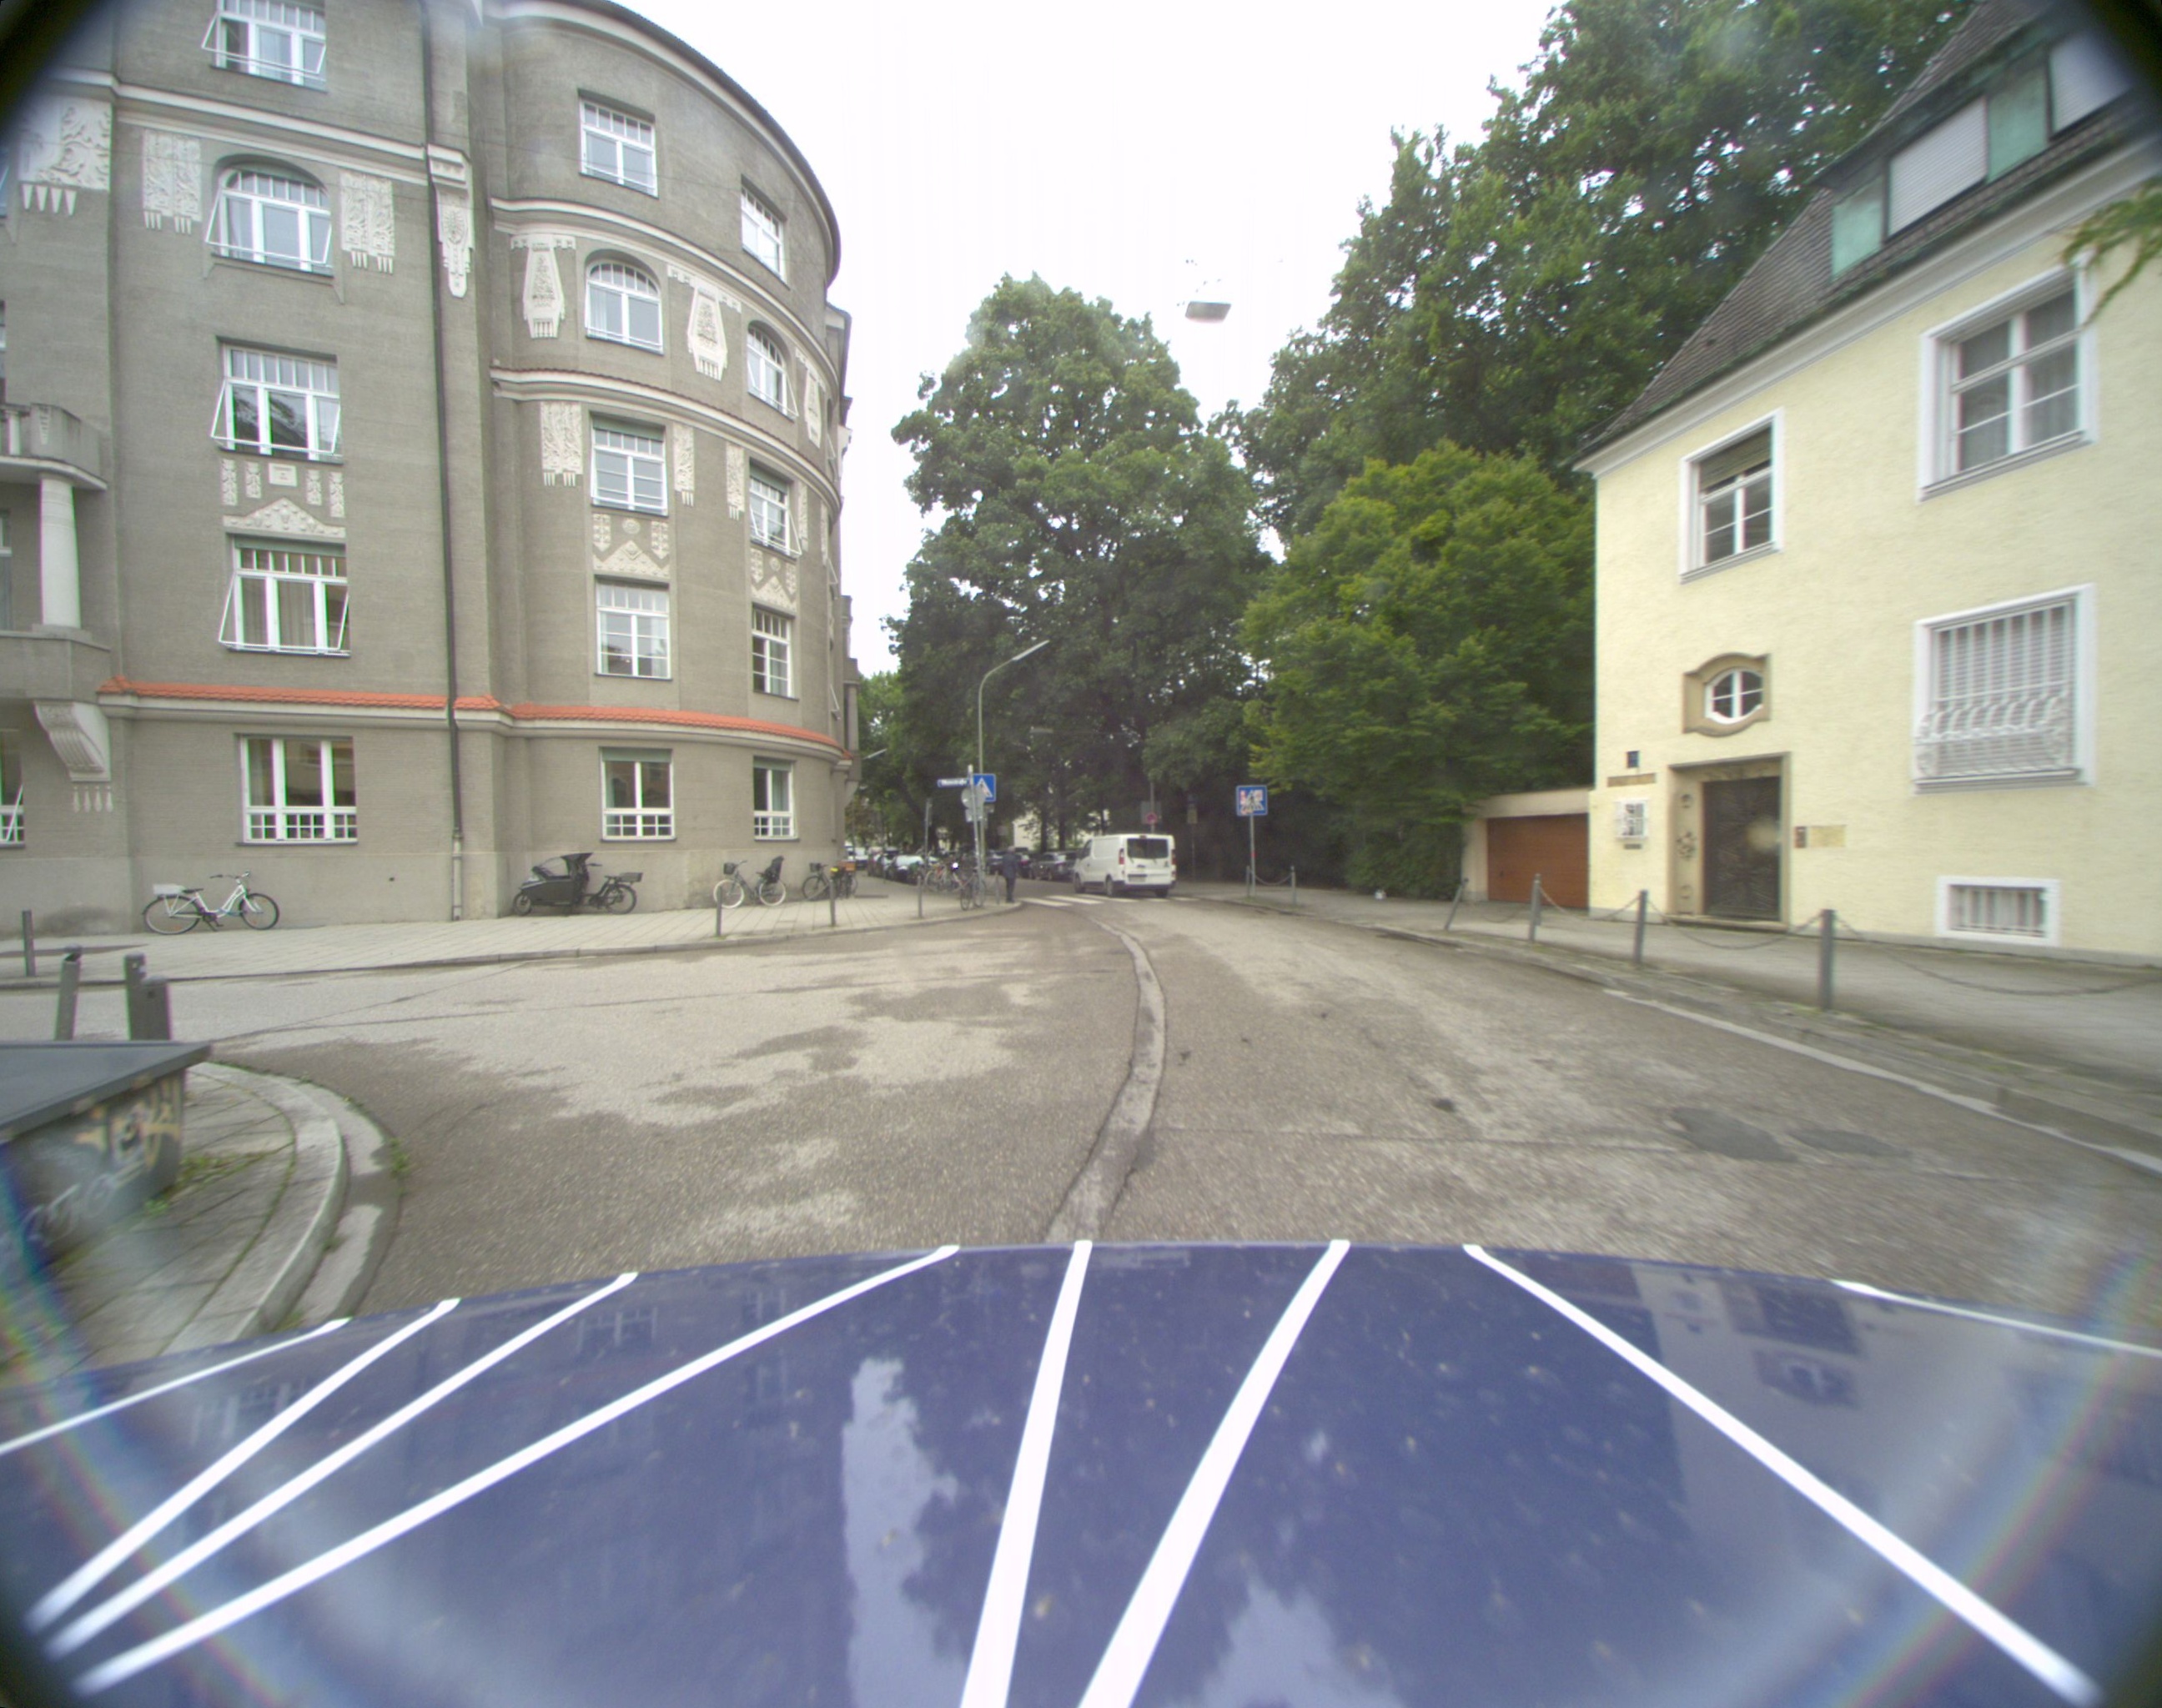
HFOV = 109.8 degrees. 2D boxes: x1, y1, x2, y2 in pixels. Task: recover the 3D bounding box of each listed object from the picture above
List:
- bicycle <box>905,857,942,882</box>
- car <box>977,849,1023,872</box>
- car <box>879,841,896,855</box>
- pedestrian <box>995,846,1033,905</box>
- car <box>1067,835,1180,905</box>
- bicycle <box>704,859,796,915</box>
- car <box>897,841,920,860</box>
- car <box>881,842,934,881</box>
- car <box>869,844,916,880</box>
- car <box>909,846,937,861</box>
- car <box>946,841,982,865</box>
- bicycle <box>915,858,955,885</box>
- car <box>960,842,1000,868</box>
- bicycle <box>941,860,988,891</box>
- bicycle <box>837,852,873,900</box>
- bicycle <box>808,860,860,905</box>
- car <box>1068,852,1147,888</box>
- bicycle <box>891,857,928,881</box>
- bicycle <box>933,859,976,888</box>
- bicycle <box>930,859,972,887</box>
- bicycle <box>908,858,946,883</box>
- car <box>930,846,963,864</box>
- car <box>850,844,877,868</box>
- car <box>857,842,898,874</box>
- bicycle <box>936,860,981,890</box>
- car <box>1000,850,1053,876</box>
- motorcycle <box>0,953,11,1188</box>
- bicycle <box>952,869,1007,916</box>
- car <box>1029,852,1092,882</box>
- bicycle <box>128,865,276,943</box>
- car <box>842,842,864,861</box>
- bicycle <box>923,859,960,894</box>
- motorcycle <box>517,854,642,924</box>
[{"bbox_3d":[-7.552,0.727,36.458,1.683,1.141,0.511,-1,2,-4],"label":"bicycle"},{"bbox_3d":[-5.409,0.392,50.023,1.779,1.424,4.507,-1,1,-23],"label":"car"},{"bbox_3d":[-26.868,-0.878,105.428,2.002,1.941,4.652,-1,2,-19],"label":"car"},{"bbox_3d":[-1.897,0.597,21.583,0.811,1.632,0.727,0,2,23],"label":"pedestrian"},{"bbox_3d":[1.224,0.451,24.834,2.048,2.030,4.949,-1,1,-18],"label":"car"},{"bbox_3d":[-8.135,0.769,18.760,0.736,1.249,1.930,1,2,41],"label":"bicycle"},{"bbox_3d":[-19.153,-0.428,84.145,2.002,1.941,4.652,-1,2,-19],"label":"car"},{"bbox_3d":[-9.305,0.325,40.541,2.002,1.941,4.651,-1,2,-22],"label":"car"},{"bbox_3d":[-11.251,0.433,45.074,2.002,1.941,4.651,-1,2,-22],"label":"car"},{"bbox_3d":[-15.325,-0.090,73.417,1.779,1.424,4.507,-1,1,-23],"label":"car"},{"bbox_3d":[-9.190,-0.111,59.366,1.779,1.825,4.507,-1,1,-23],"label":"car"},{"bbox_3d":[-6.381,0.775,33.262,1.683,1.141,0.511,-1,2,-4],"label":"bicycle"},{"bbox_3d":[-7.332,0.041,54.859,1.779,1.808,4.507,-1,1,-23],"label":"car"},{"bbox_3d":[-4.444,0.816,29.064,1.708,1.141,0.511,-1,2,-4],"label":"bicycle"},{"bbox_3d":[-6.986,0.649,23.576,0.738,1.405,1.924,-1,2,-7],"label":"bicycle"},{"bbox_3d":[-6.925,0.775,21.405,0.564,1.150,1.927,3,2,8],"label":"bicycle"},{"bbox_3d":[1.075,0.650,33.349,1.627,1.440,4.426,-2,1,-25],"label":"car"},{"bbox_3d":[-8.458,0.731,37.489,1.683,1.141,0.511,-1,2,-4],"label":"bicycle"},{"bbox_3d":[-5.161,0.795,31.020,1.683,1.141,0.511,-1,2,-4],"label":"bicycle"},{"bbox_3d":[-5.479,0.782,32.018,1.683,1.141,0.511,-1,2,-4],"label":"bicycle"},{"bbox_3d":[-7.207,0.770,35.654,1.683,1.141,0.511,-1,2,-4],"label":"bicycle"},{"bbox_3d":[-11.431,0.087,64.275,1.779,1.424,4.507,-1,1,-23],"label":"car"},{"bbox_3d":[-18.675,0.157,65.166,2.002,1.941,4.652,-1,2,-19],"label":"car"},{"bbox_3d":[-13.567,0.209,50.506,2.002,1.941,4.651,-1,2,-22],"label":"car"},{"bbox_3d":[-4.800,0.823,29.717,1.683,1.141,0.466,-1,2,-4],"label":"bicycle"},{"bbox_3d":[-3.269,0.498,44.850,1.779,1.424,4.507,-1,1,-23],"label":"car"},{"bbox_3d":[-4.891,0.914,2.675,0.819,1.348,2.079,-2,0,-42],"label":"motorcycle"},{"bbox_3d":[-2.496,0.926,18.916,0.511,1.004,2.010,0,2,18],"label":"bicycle"},{"bbox_3d":[-1.135,0.611,39.466,1.779,1.424,4.507,-1,1,-23],"label":"car"},{"bbox_3d":[-16.488,0.910,14.306,1.677,1.342,0.619,-1,2,-23],"label":"bicycle"},{"bbox_3d":[-24.182,-0.297,80.594,2.002,1.941,4.652,-1,2,-19],"label":"car"},{"bbox_3d":[-4.833,0.765,26.489,0.511,1.141,1.686,0,2,18],"label":"bicycle"},{"bbox_3d":[-10.978,0.737,16.730,2.149,1.433,0.737,-1,2,-20],"label":"motorcycle"}]
